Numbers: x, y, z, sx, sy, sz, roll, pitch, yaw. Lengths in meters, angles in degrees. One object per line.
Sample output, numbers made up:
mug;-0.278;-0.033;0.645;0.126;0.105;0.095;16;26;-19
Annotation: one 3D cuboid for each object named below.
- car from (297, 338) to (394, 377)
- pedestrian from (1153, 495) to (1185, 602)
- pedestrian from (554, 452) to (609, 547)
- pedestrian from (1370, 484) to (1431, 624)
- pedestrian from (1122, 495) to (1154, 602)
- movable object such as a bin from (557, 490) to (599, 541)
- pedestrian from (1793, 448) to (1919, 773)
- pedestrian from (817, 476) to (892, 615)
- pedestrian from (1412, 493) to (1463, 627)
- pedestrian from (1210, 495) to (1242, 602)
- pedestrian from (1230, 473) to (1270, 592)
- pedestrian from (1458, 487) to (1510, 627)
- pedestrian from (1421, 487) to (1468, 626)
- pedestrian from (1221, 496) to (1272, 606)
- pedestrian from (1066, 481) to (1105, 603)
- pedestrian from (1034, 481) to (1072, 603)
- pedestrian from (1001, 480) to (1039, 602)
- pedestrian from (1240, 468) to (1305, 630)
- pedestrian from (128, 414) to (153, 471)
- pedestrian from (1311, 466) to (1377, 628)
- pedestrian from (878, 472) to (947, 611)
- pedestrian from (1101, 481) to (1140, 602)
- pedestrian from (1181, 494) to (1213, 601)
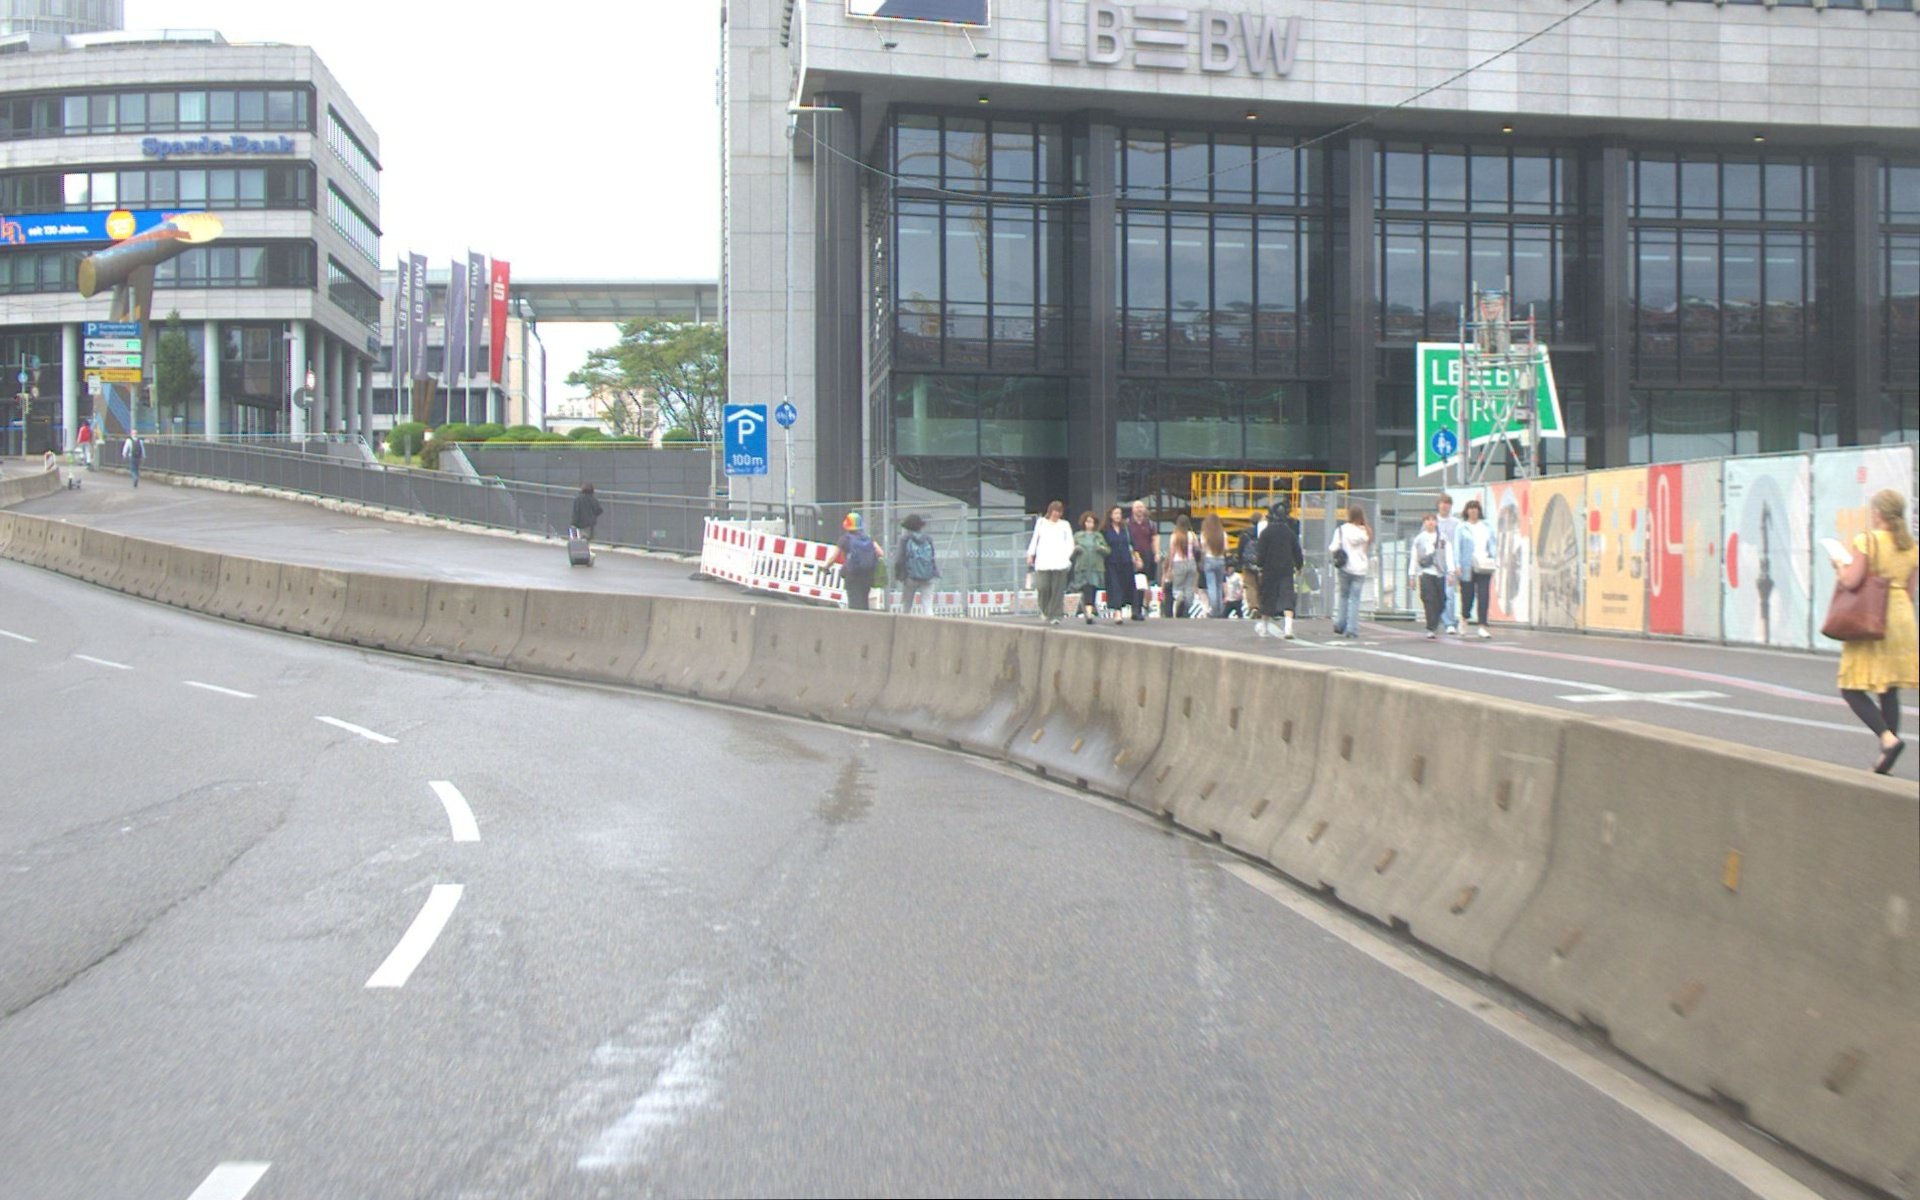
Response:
car;-24.954;-9.838;139.605;1.625;1.430;3.732;2;3;39
pedestrian;3.348;-0.825;54.998;0.448;1.699;0.646;1;2;8
pedestrian;-7.188;-1.899;65.250;0.756;1.784;1.057;0;1;-22
pedestrian;5.390;-0.572;42.072;0.625;1.699;0.647;1;2;-2
pedestrian;2.852;-0.833;55.114;0.448;1.699;0.646;1;2;8
movable object such as a bin;-7.222;-1.594;64.950;0.598;0.930;0.742;1;-1;-22
pedestrian;5.335;0.055;19.993;0.732;1.848;0.831;1;1;-2
pedestrian;-1.261;-0.655;40.958;0.750;1.636;0.824;0;2;-13
pedestrian;6.127;-0.514;44.109;0.500;1.699;0.733;1;2;-2
pedestrian;4.251;-0.826;54.860;0.448;1.699;0.646;1;2;8
pedestrian;4.421;-1.034;52.473;0.529;1.812;0.536;1;1;-1
pedestrian;6.450;-0.536;42.326;0.502;1.699;0.647;1;2;-2
pedestrian;5.954;-0.539;42.267;0.448;1.699;0.647;1;2;-2
pedestrian;4.480;-0.775;53.792;0.511;1.699;0.574;-1;2;-38
pedestrian;1.771;-0.824;48.565;0.453;1.699;0.647;0;2;-5
pedestrian;1.307;-0.820;48.297;0.448;1.699;0.647;0;2;-5
pedestrian;0.839;-0.836;48.261;0.448;1.699;0.647;0;2;-5
pedestrian;3.924;-0.652;43.137;0.784;2.006;0.863;1;2;6
pedestrian;-25.485;-4.896;106.915;0.625;1.758;0.590;1;2;1
pedestrian;4.812;-0.674;43.126;0.784;2.006;0.863;1;2;6
pedestrian;-0.568;-0.702;41.117;0.658;1.636;0.824;0;2;-13
pedestrian;2.267;-0.839;48.664;0.448;1.699;0.647;0;2;-5
pedestrian;3.789;-0.847;54.938;0.448;1.699;0.646;1;2;8
